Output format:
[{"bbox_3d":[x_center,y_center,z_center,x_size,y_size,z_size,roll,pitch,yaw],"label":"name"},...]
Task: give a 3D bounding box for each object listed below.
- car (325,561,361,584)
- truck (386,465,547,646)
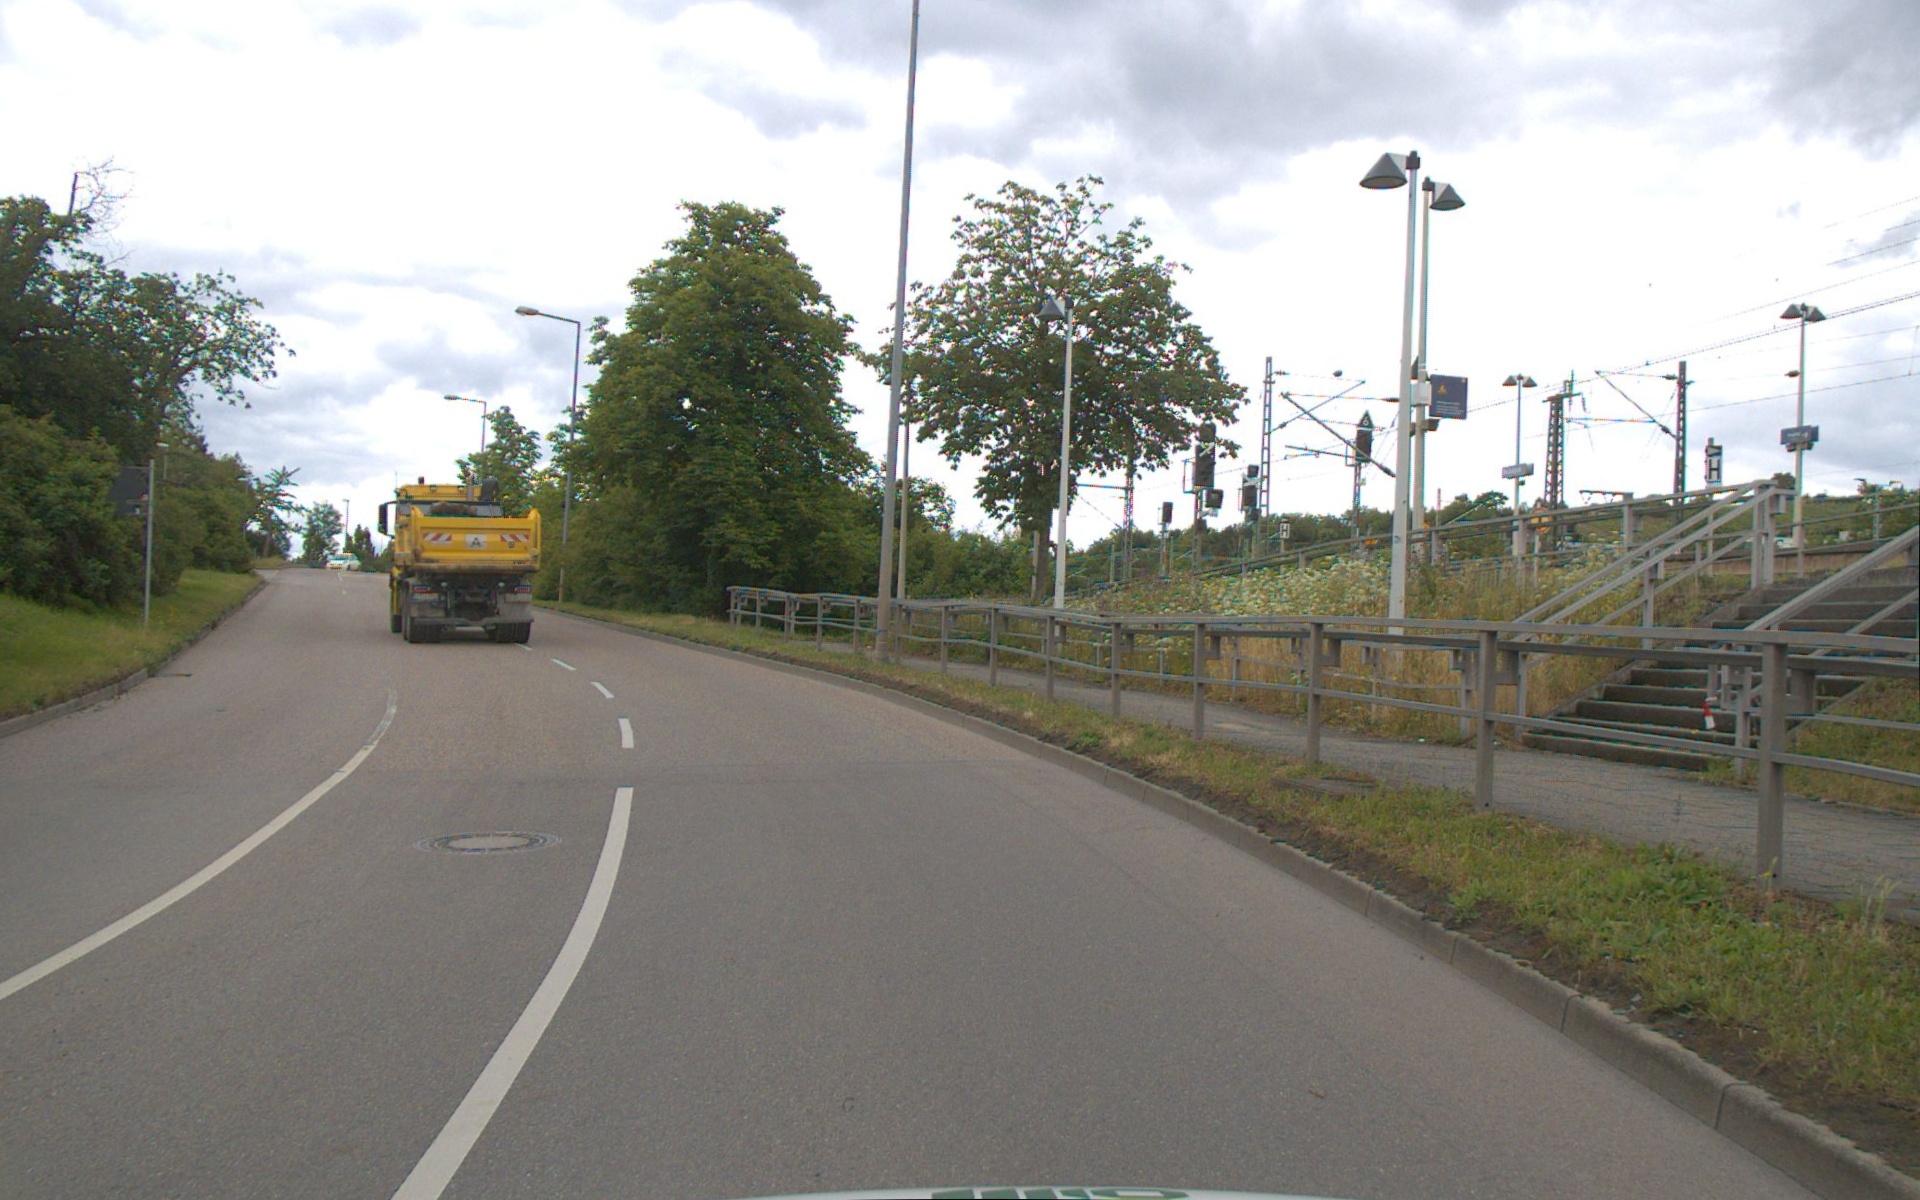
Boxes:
[{"bbox_3d":[-47.838,-2.134,128.269,1.959,1.668,3.987,3,0,-13],"label":"car"},{"bbox_3d":[-11.128,-0.971,36.757,2.726,3.544,8.076,0,1,-22],"label":"truck"}]
